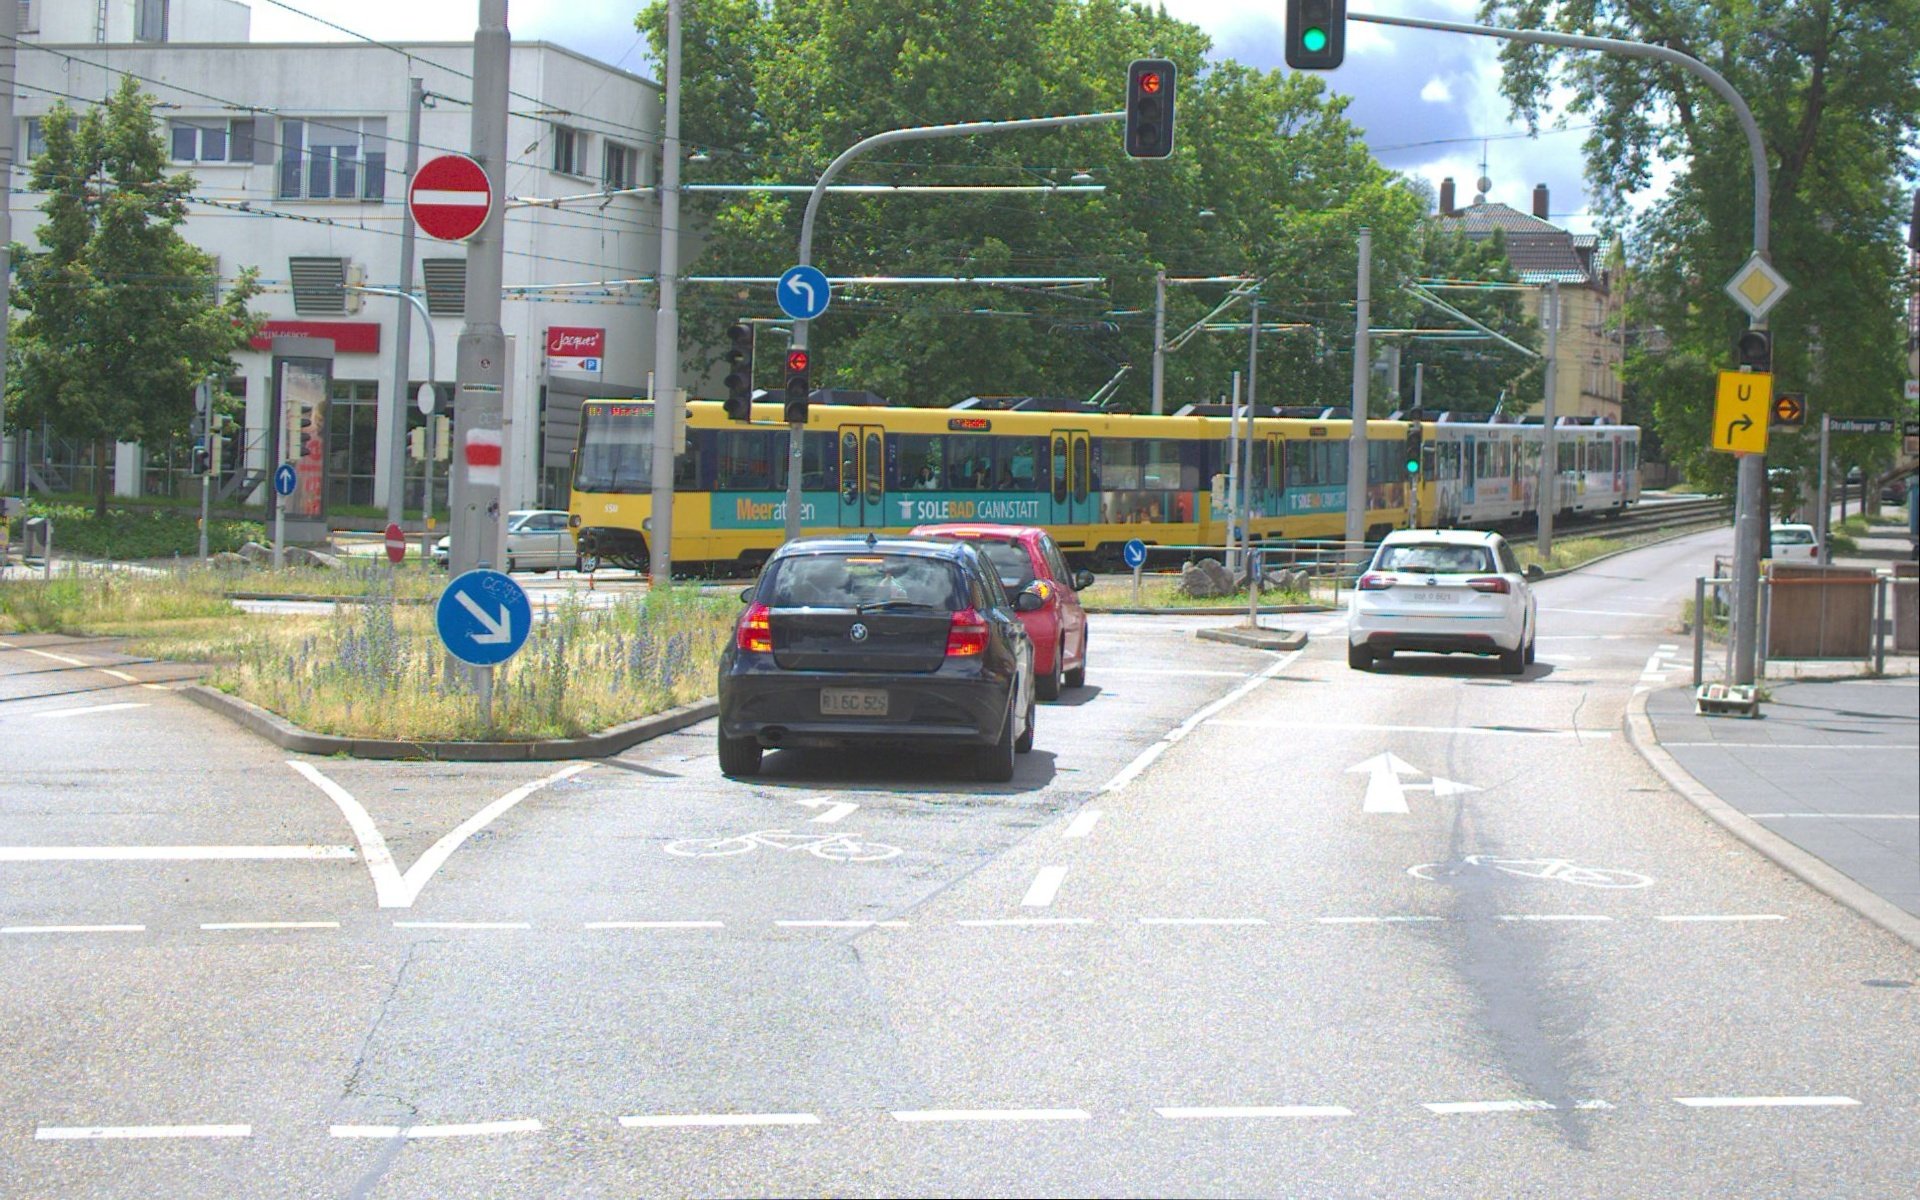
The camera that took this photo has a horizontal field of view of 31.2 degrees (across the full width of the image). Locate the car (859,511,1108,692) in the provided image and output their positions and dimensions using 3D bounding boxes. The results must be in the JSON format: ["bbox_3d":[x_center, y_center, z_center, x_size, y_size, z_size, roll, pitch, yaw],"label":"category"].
[{"bbox_3d":[0.275,-0.005,30.117,1.625,1.468,3.999,0,1,9],"label":"car"}]

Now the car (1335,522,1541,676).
[{"bbox_3d":[5.163,-0.059,36.768,1.816,1.463,3.998,3,2,12],"label":"car"}]

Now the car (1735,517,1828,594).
[{"bbox_3d":[17.582,-0.951,73.461,1.788,1.590,3.997,1,1,15],"label":"car"}]

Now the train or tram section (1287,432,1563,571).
[{"bbox_3d":[14.796,-2.847,106.725,3.753,3.866,20.613,1,1,21],"label":"train or tram section"}]

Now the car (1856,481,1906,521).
[{"bbox_3d":[43.353,-4.655,161.754,2.125,1.851,3.735,1,2,16],"label":"car"}]

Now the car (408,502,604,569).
[{"bbox_3d":[-9.959,-1.401,75.626,1.888,1.412,3.990,1,1,43],"label":"car"}]

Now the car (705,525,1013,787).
[{"bbox_3d":[-0.567,0.294,21.113,1.701,1.447,4.000,0,1,0],"label":"car"}]

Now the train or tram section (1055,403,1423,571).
[{"bbox_3d":[7.650,-2.678,88.595,3.753,3.816,20.127,1,1,22],"label":"train or tram section"}]

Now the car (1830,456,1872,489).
[{"bbox_3d":[57.794,-8.256,222.875,1.996,2.007,3.995,1,1,24],"label":"car"}]

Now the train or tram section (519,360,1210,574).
[{"bbox_3d":[-1.359,-2.538,72.410,3.757,3.905,18.856,1,1,36],"label":"train or tram section"}]
